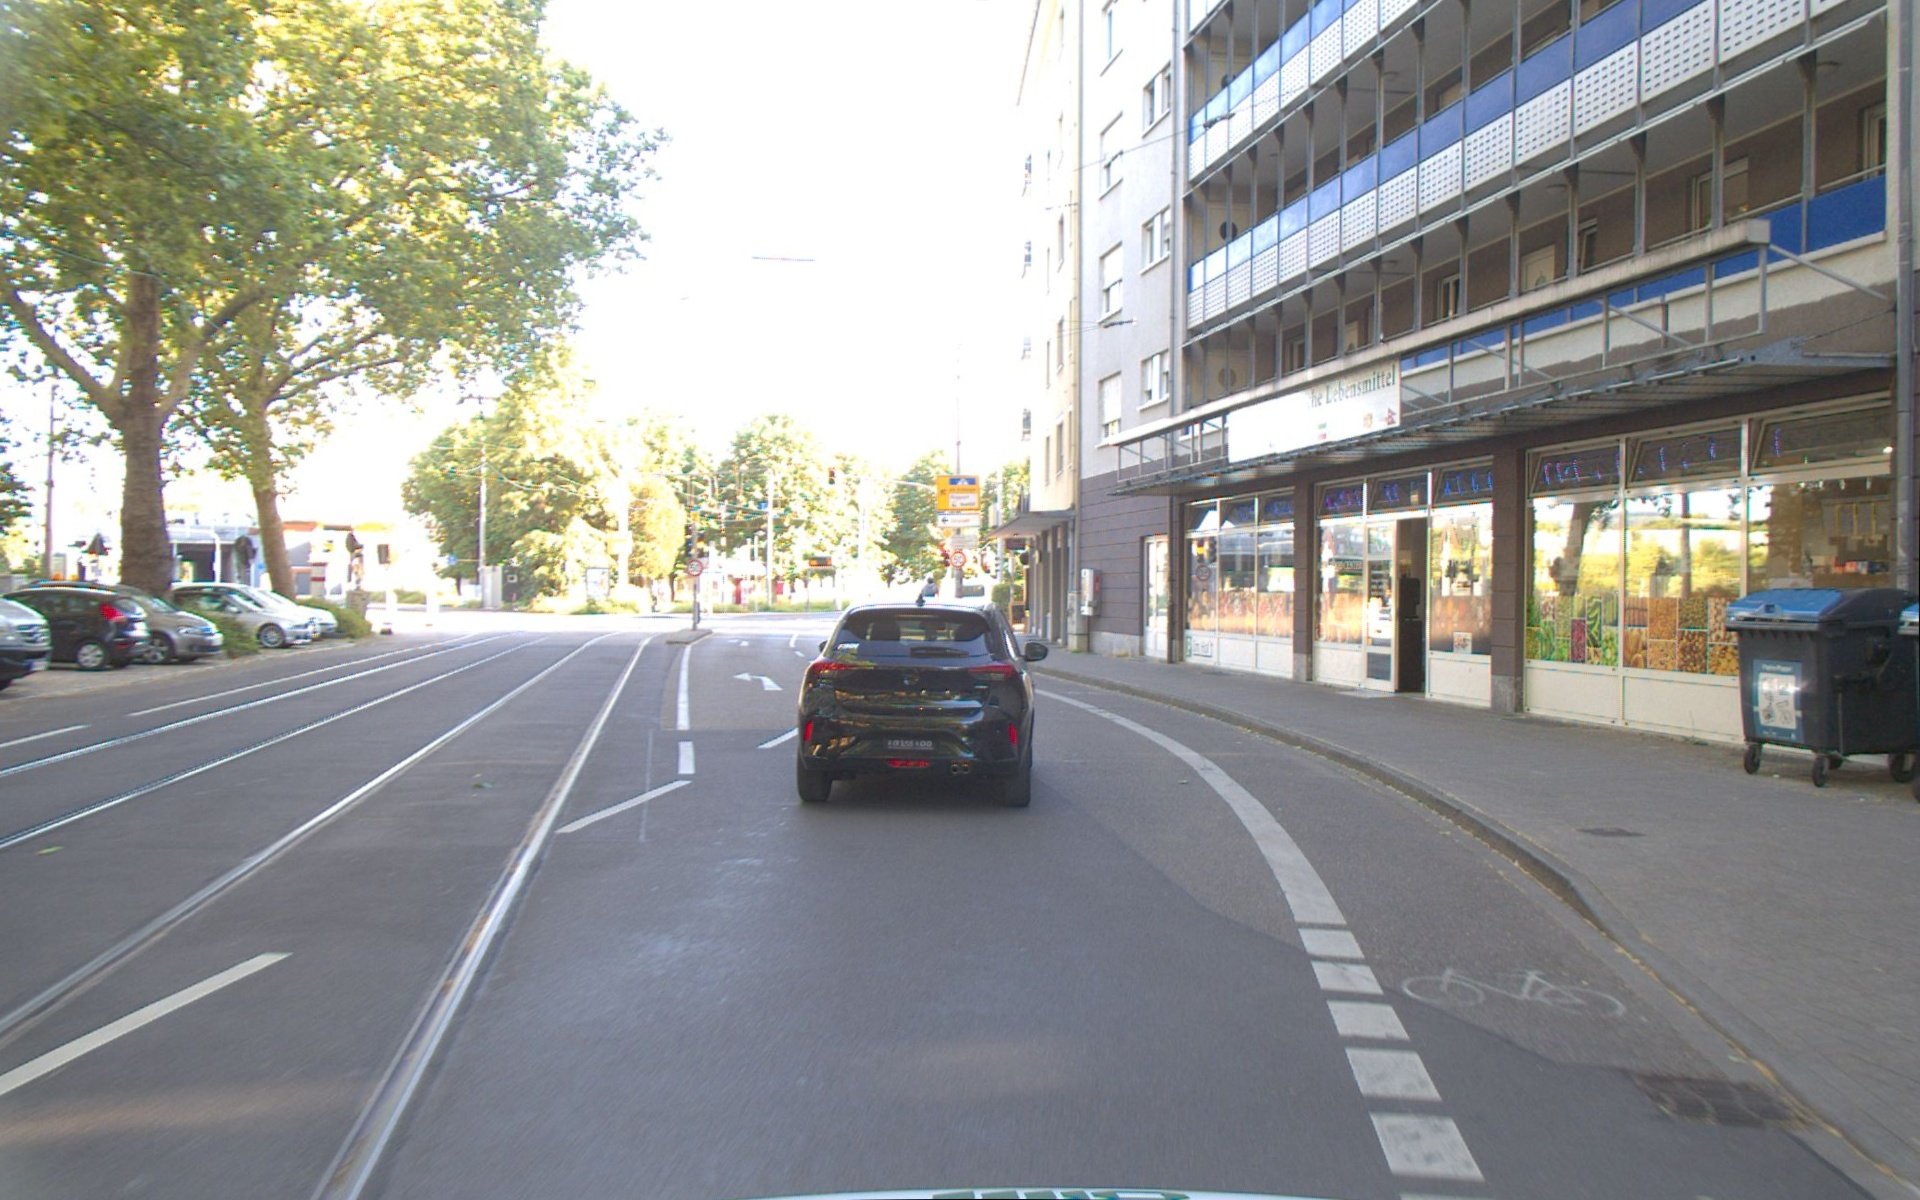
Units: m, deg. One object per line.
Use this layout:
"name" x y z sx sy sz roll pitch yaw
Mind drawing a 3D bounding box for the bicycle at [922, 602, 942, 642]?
"bicycle" -0.791 0.617 46.873 0.497 1.086 1.565 0 0 2

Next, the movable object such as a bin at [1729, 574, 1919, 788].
"movable object such as a bin" 6.837 0.576 12.684 1.090 1.510 1.384 -2 0 -10

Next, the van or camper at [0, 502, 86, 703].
"van or camper" -15.527 -0.020 22.829 5.619 2.690 2.264 1 0 -10

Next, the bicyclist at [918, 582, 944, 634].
"bicyclist" -0.826 0.229 46.801 0.691 1.461 0.702 0 0 2

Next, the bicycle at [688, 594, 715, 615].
"bicycle" -13.152 0.219 84.145 0.771 1.009 2.245 1 0 7

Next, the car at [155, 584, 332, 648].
"car" -19.380 0.410 44.923 4.096 1.700 1.958 0 0 -13

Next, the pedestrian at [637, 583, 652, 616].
"pedestrian" -17.917 -0.019 94.066 0.603 1.886 0.584 1 0 16

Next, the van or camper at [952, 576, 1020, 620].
"van or camper" 1.356 -0.101 85.364 2.123 2.183 4.506 1 0 20

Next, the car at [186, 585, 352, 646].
"car" -19.728 0.423 47.390 4.096 1.700 1.958 0 0 -13

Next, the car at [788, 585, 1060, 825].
"car" -0.205 0.664 12.712 1.745 1.522 4.001 1 1 1

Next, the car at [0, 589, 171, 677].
"car" -16.892 0.583 30.455 3.913 1.541 1.646 1 0 -9

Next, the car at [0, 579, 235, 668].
"car" -16.860 0.460 33.140 3.913 1.680 1.646 1 0 -9

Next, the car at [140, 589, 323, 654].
"car" -18.429 0.547 41.982 3.913 1.541 1.646 1 0 -9

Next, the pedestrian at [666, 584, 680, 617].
"pedestrian" -16.477 0.010 94.993 0.603 1.886 0.584 1 0 15

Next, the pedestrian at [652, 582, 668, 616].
"pedestrian" -17.274 -0.055 95.094 0.644 1.966 0.609 1 0 22

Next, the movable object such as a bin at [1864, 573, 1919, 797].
"movable object such as a bin" 7.127 0.563 11.035 1.165 1.510 1.591 -2 0 -10

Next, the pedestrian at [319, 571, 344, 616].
"pedestrian" -31.351 -0.319 82.509 0.815 2.259 0.885 1 0 -44
